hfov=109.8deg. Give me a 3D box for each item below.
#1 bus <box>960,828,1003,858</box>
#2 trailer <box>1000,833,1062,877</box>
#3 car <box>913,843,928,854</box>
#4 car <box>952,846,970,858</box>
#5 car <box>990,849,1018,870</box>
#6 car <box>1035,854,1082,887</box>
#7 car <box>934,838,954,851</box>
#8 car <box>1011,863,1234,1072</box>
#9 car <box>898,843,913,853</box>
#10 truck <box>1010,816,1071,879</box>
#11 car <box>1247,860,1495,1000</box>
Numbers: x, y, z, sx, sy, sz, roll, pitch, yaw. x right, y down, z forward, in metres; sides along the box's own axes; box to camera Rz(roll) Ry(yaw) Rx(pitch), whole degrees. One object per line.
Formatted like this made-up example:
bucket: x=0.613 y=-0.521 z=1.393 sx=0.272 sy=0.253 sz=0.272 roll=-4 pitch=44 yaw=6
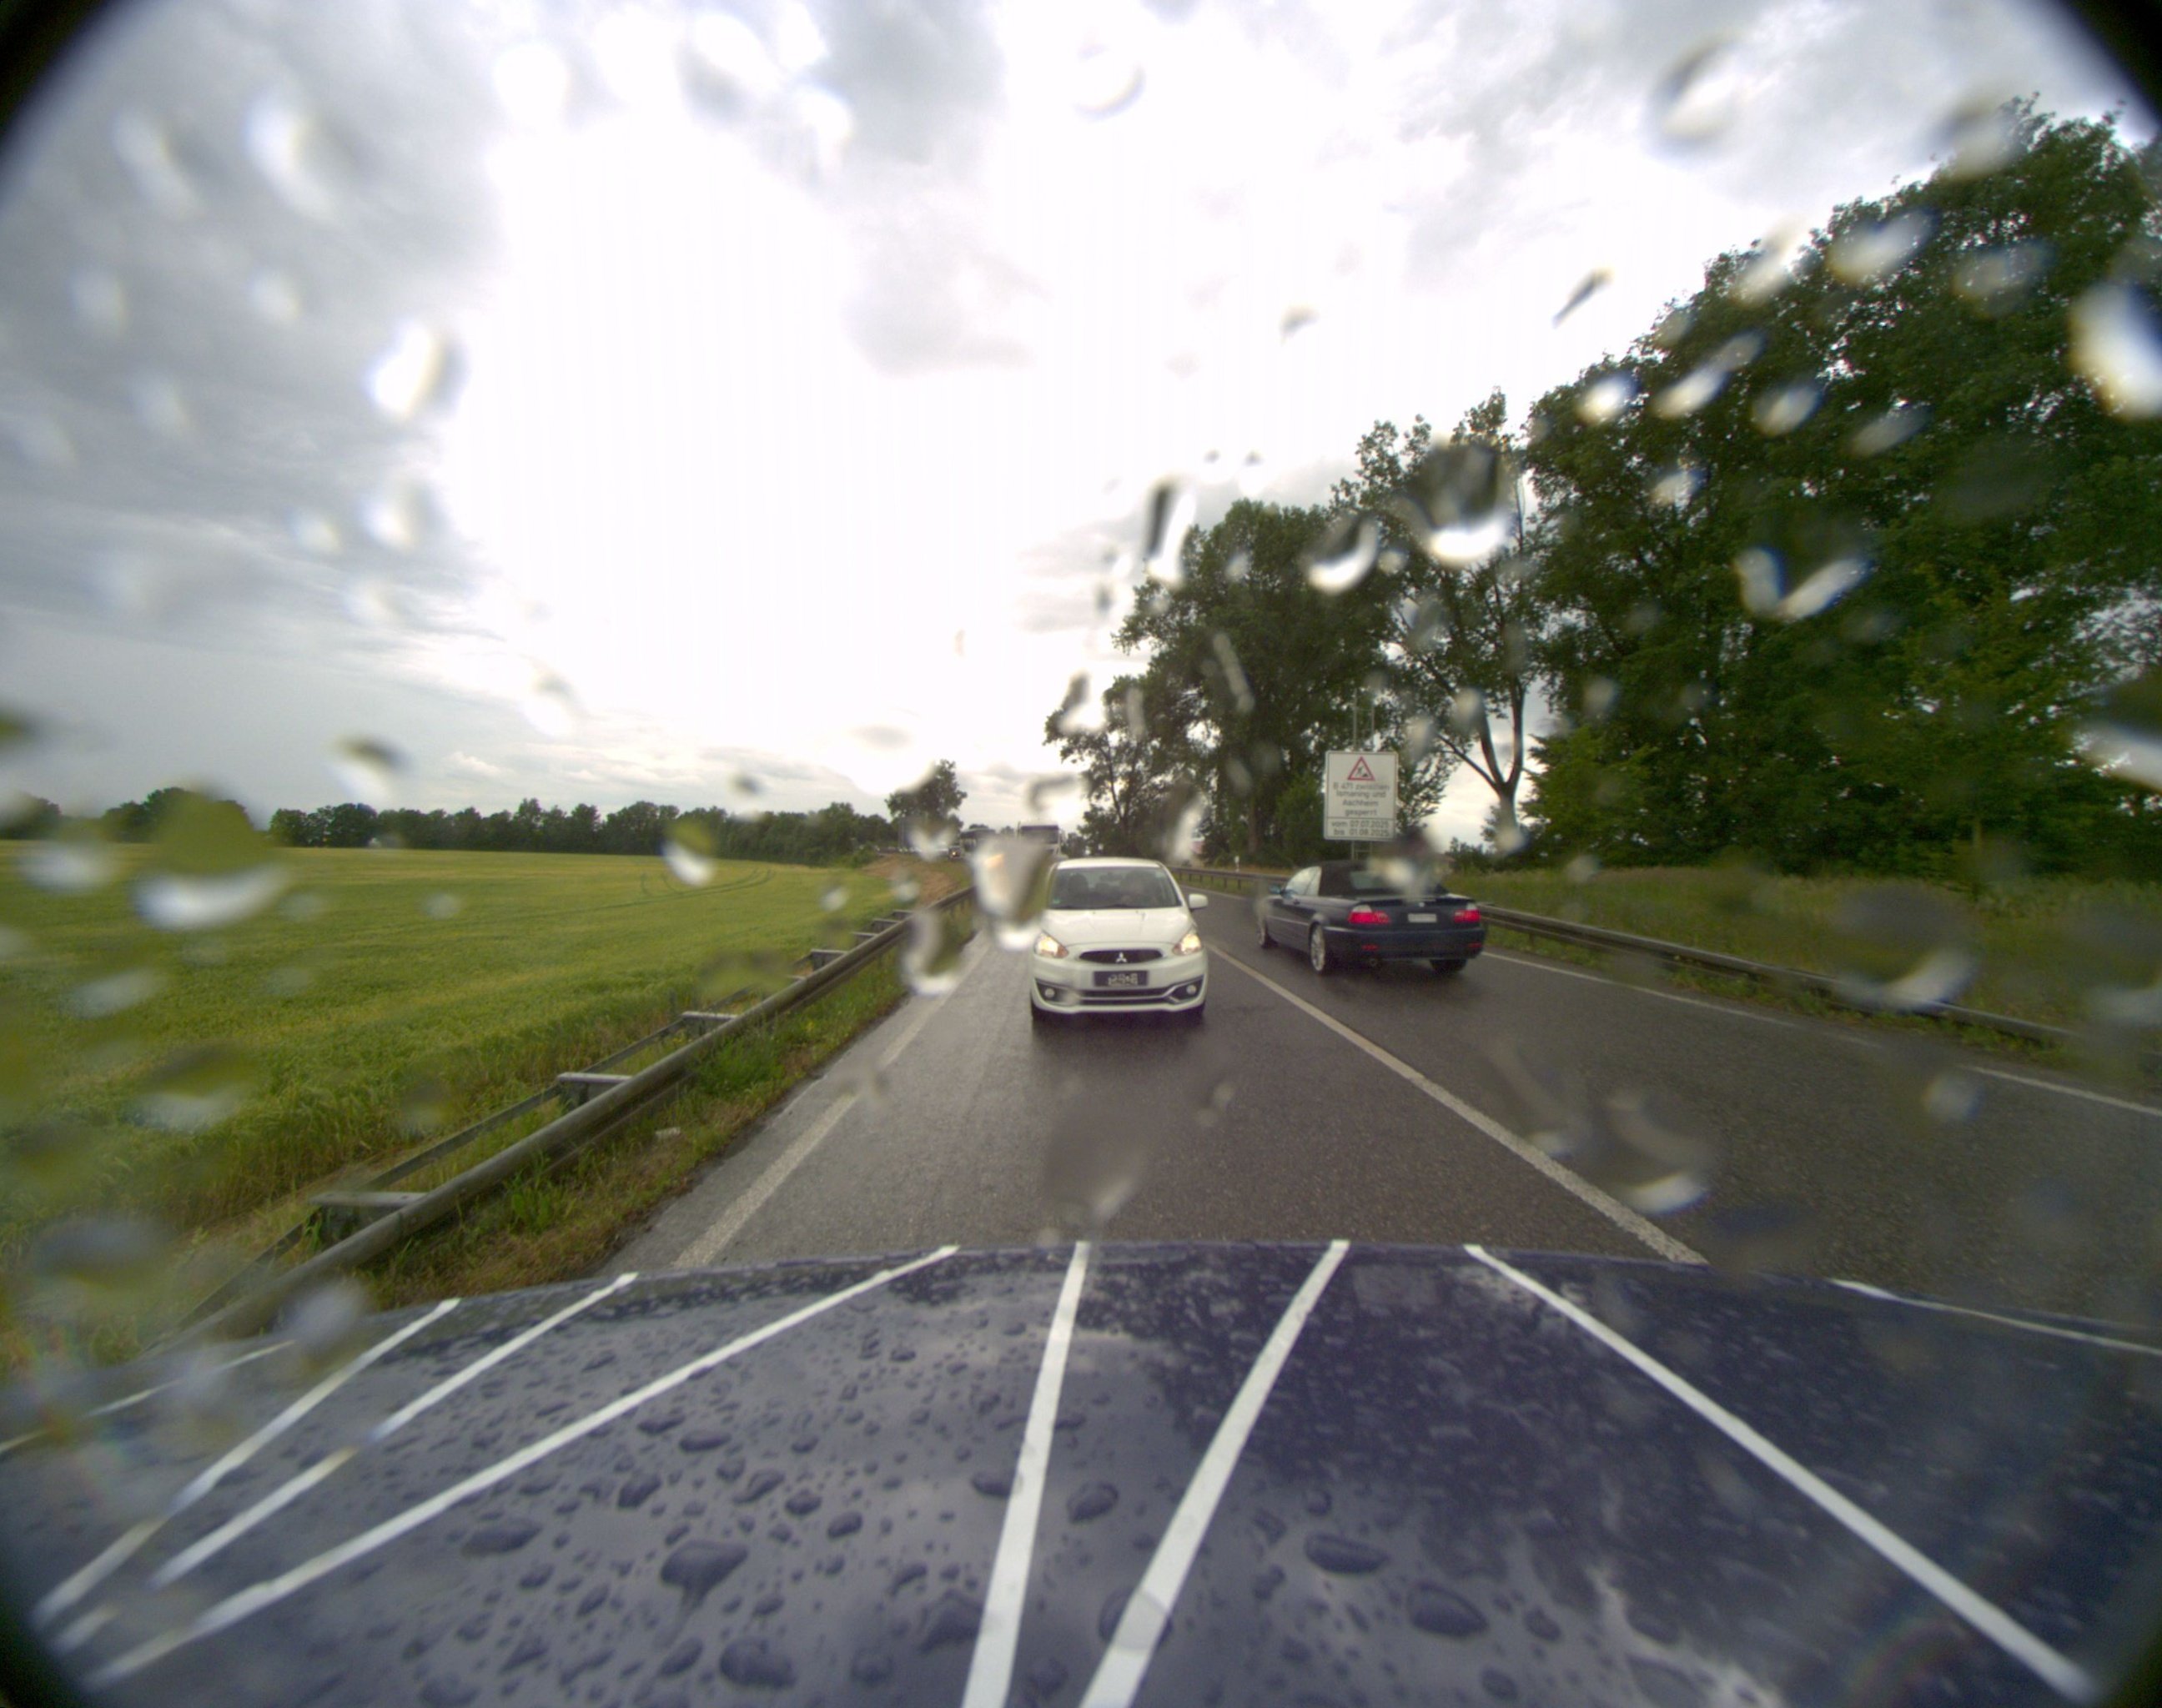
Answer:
bus: x=-12.237 y=-1.370 z=91.837 sx=2.967 sy=3.294 sz=14.813 roll=-2 pitch=2 yaw=-16
trailer: x=-3.968 y=-0.044 z=55.476 sx=2.986 sy=2.618 sz=15.666 roll=-2 pitch=1 yaw=-9
car: x=-31.827 y=-1.064 z=150.520 sx=2.002 sy=2.002 sz=4.223 roll=-2 pitch=1 yaw=-25
car: x=-17.310 y=-0.303 z=109.483 sx=1.816 sy=1.569 sz=3.993 roll=-2 pitch=1 yaw=-17
car: x=-7.369 y=0.459 z=72.166 sx=2.044 sy=1.832 sz=5.329 roll=-2 pitch=1 yaw=-13
car: x=-1.133 y=0.740 z=36.116 sx=1.782 sy=1.380 sz=4.325 roll=-2 pitch=1 yaw=-7
car: x=-22.871 y=-1.617 z=126.455 sx=2.002 sy=2.002 sz=5.325 roll=-2 pitch=1 yaw=-23
car: x=0.275 y=0.888 z=7.784 sx=1.653 sy=1.461 sz=4.029 roll=-2 pitch=0 yaw=-1
car: x=-37.357 y=-1.265 z=161.430 sx=2.002 sy=2.002 sz=4.255 roll=-2 pitch=1 yaw=-27
truck: x=-2.610 y=-0.427 z=47.060 sx=2.986 sy=3.589 sz=6.074 roll=-2 pitch=1 yaw=-9
car: x=3.544 y=0.826 z=10.208 sx=1.634 sy=1.388 sz=4.319 roll=-1 pitch=0 yaw=-1
